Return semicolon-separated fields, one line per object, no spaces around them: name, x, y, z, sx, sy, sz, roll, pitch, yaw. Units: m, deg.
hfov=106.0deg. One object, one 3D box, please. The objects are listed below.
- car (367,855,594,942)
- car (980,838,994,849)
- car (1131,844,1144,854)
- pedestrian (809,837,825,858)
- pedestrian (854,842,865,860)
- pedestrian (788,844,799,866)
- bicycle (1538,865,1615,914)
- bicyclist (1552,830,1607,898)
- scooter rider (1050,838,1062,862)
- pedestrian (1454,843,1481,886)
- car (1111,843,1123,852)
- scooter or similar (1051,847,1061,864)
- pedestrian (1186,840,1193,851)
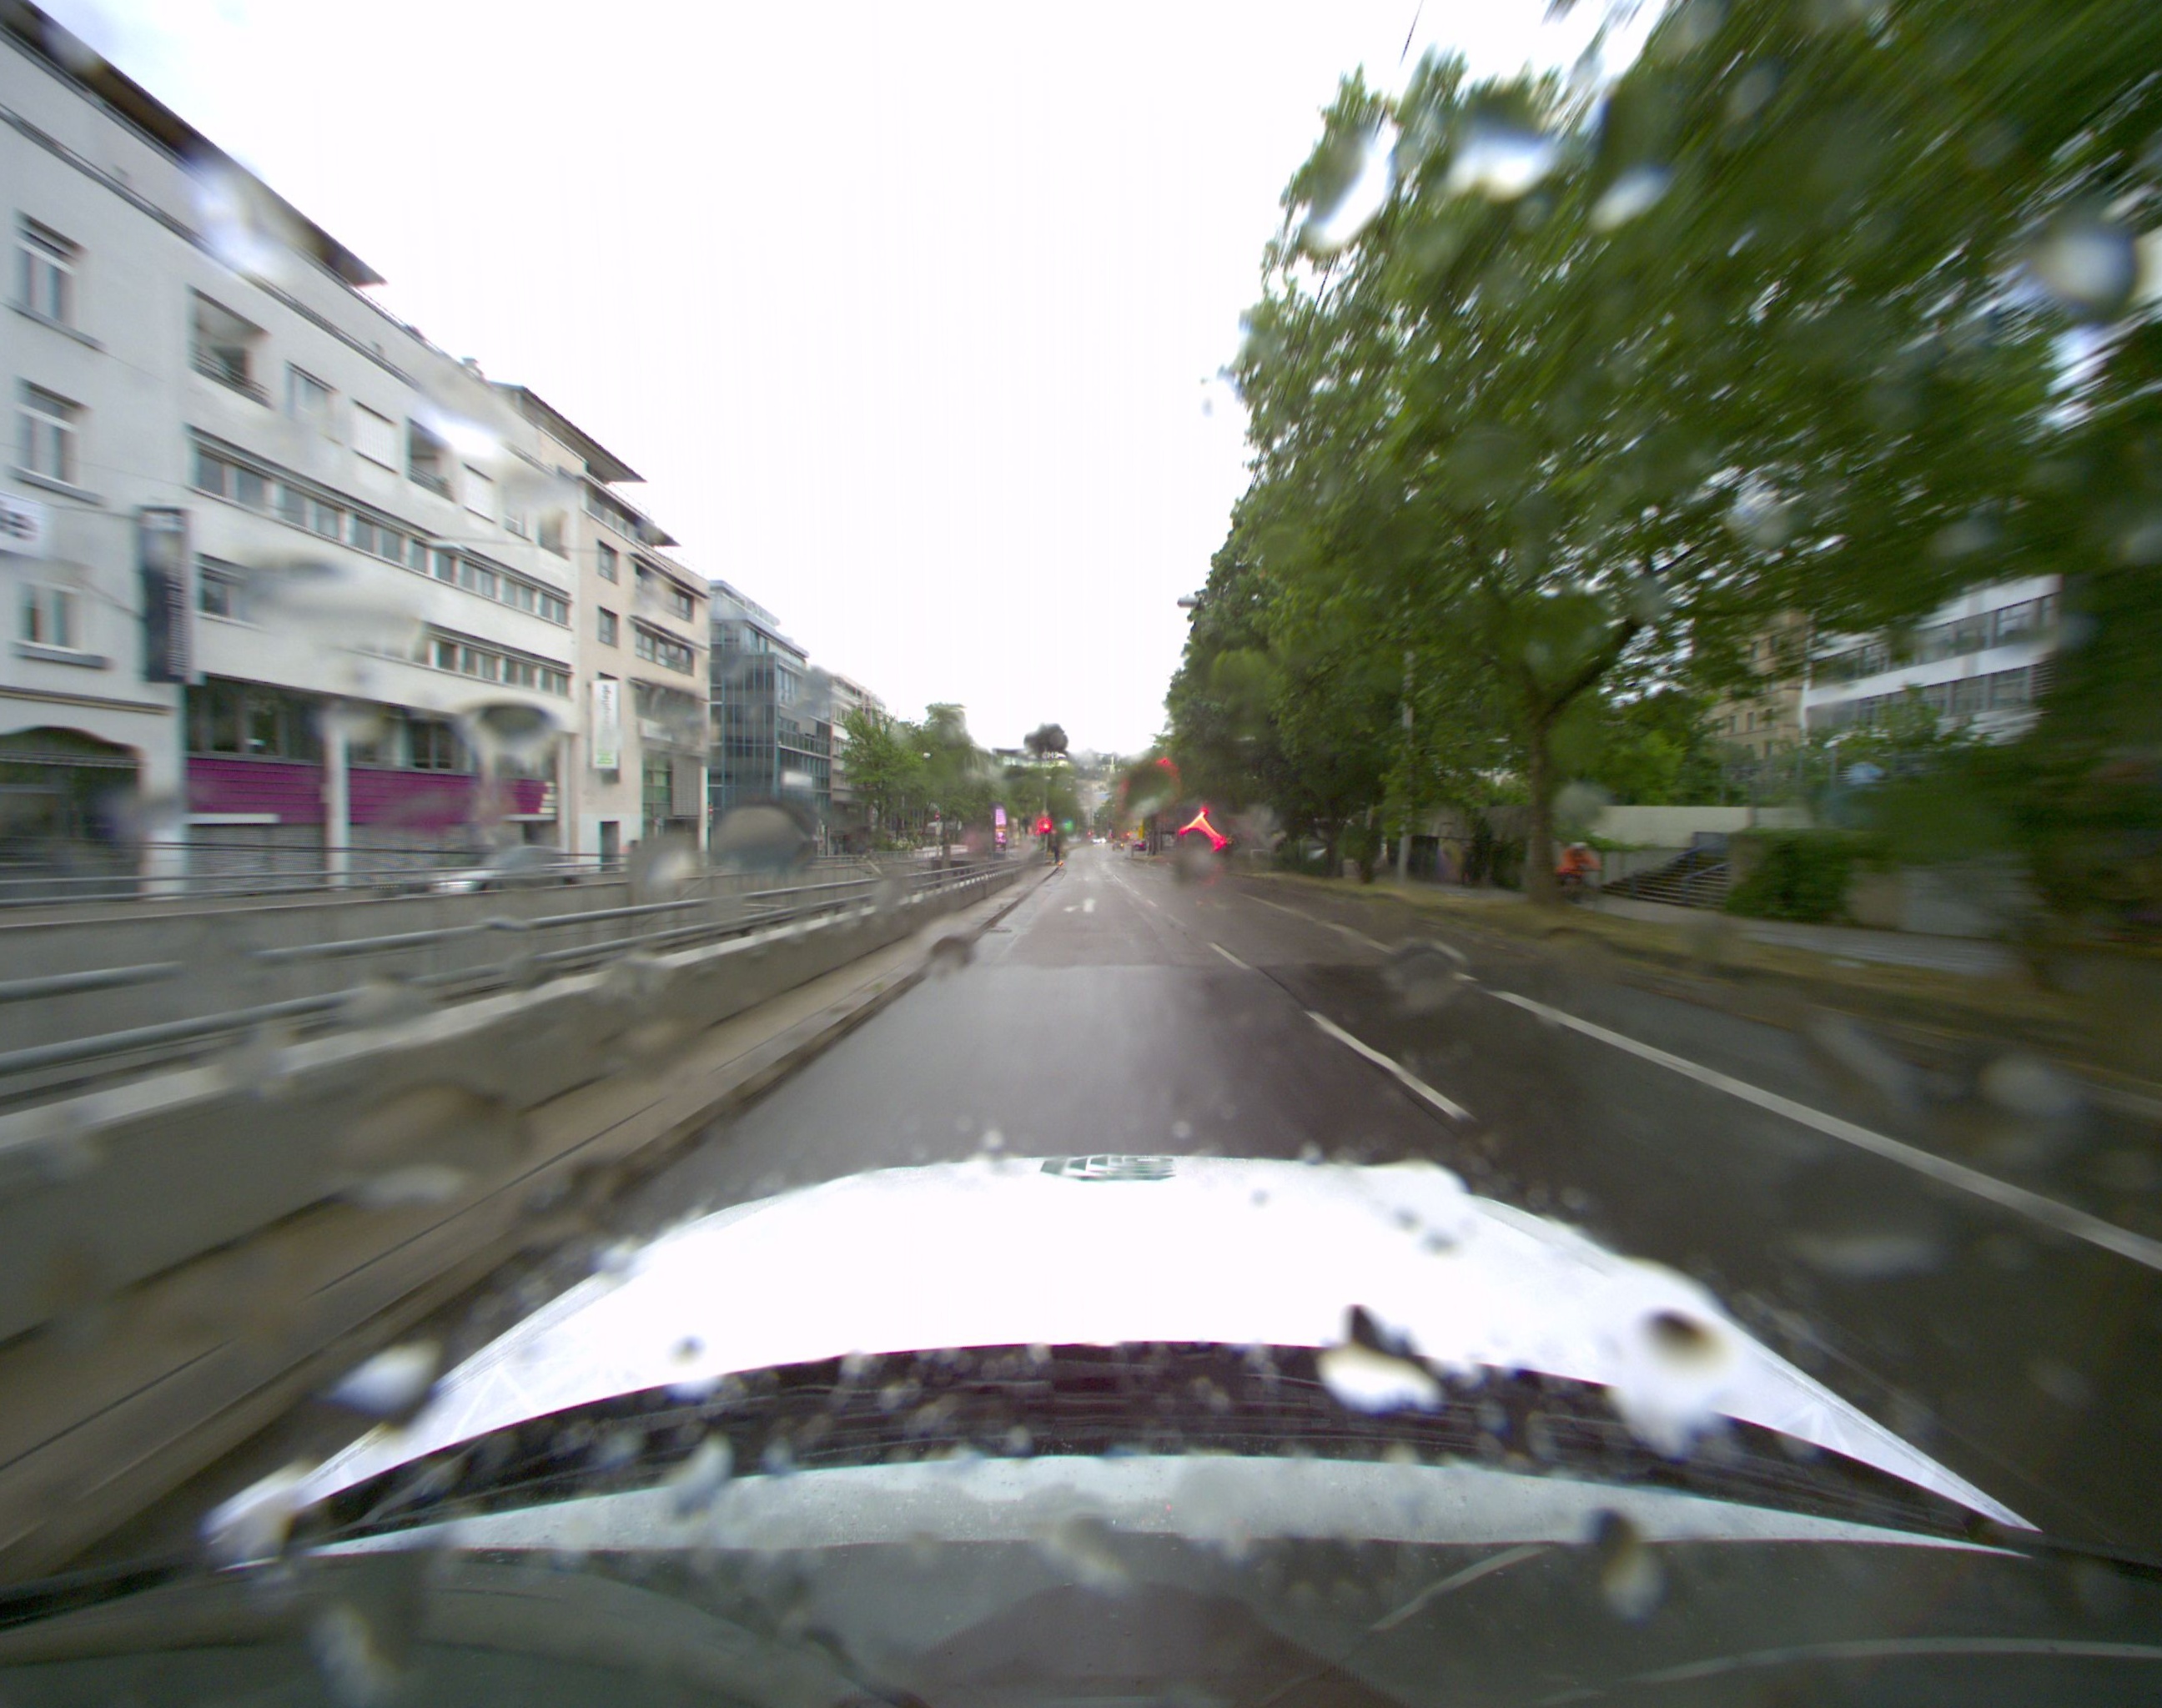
car;-13.816;0.922;19.171;1.830;1.712;4.579;0;1;2
car;-15.063;-1.694;131.171;1.775;1.555;3.893;1;3;-1
car;9.133;-0.814;131.673;1.893;1.684;3.915;1;1;4
pedestrian;-23.416;-0.592;72.216;0.857;1.868;0.964;2;0;18
pedestrian;-22.710;-0.330;83.618;0.874;1.868;0.866;2;0;-2
pedestrian;-22.535;0.064;63.855;0.662;1.671;0.488;1;0;-1
bicycle;12.235;0.847;20.193;0.802;1.111;2.202;0;0;7
bicyclist;12.226;0.243;20.005;0.802;1.628;1.048;0;0;7
scooter rider;-2.104;-0.351;68.047;0.808;1.948;0.820;1;0;-10
pedestrian;16.959;0.440;35.786;0.802;1.864;1.059;0;0;9
car;5.770;-1.053;130.125;1.740;1.519;4.106;1;1;0
scooter or similar;-2.130;0.094;68.150;0.546;1.418;1.949;1;1;-10
pedestrian;14.600;-1.157;109.676;0.783;1.557;0.533;2;0;2
